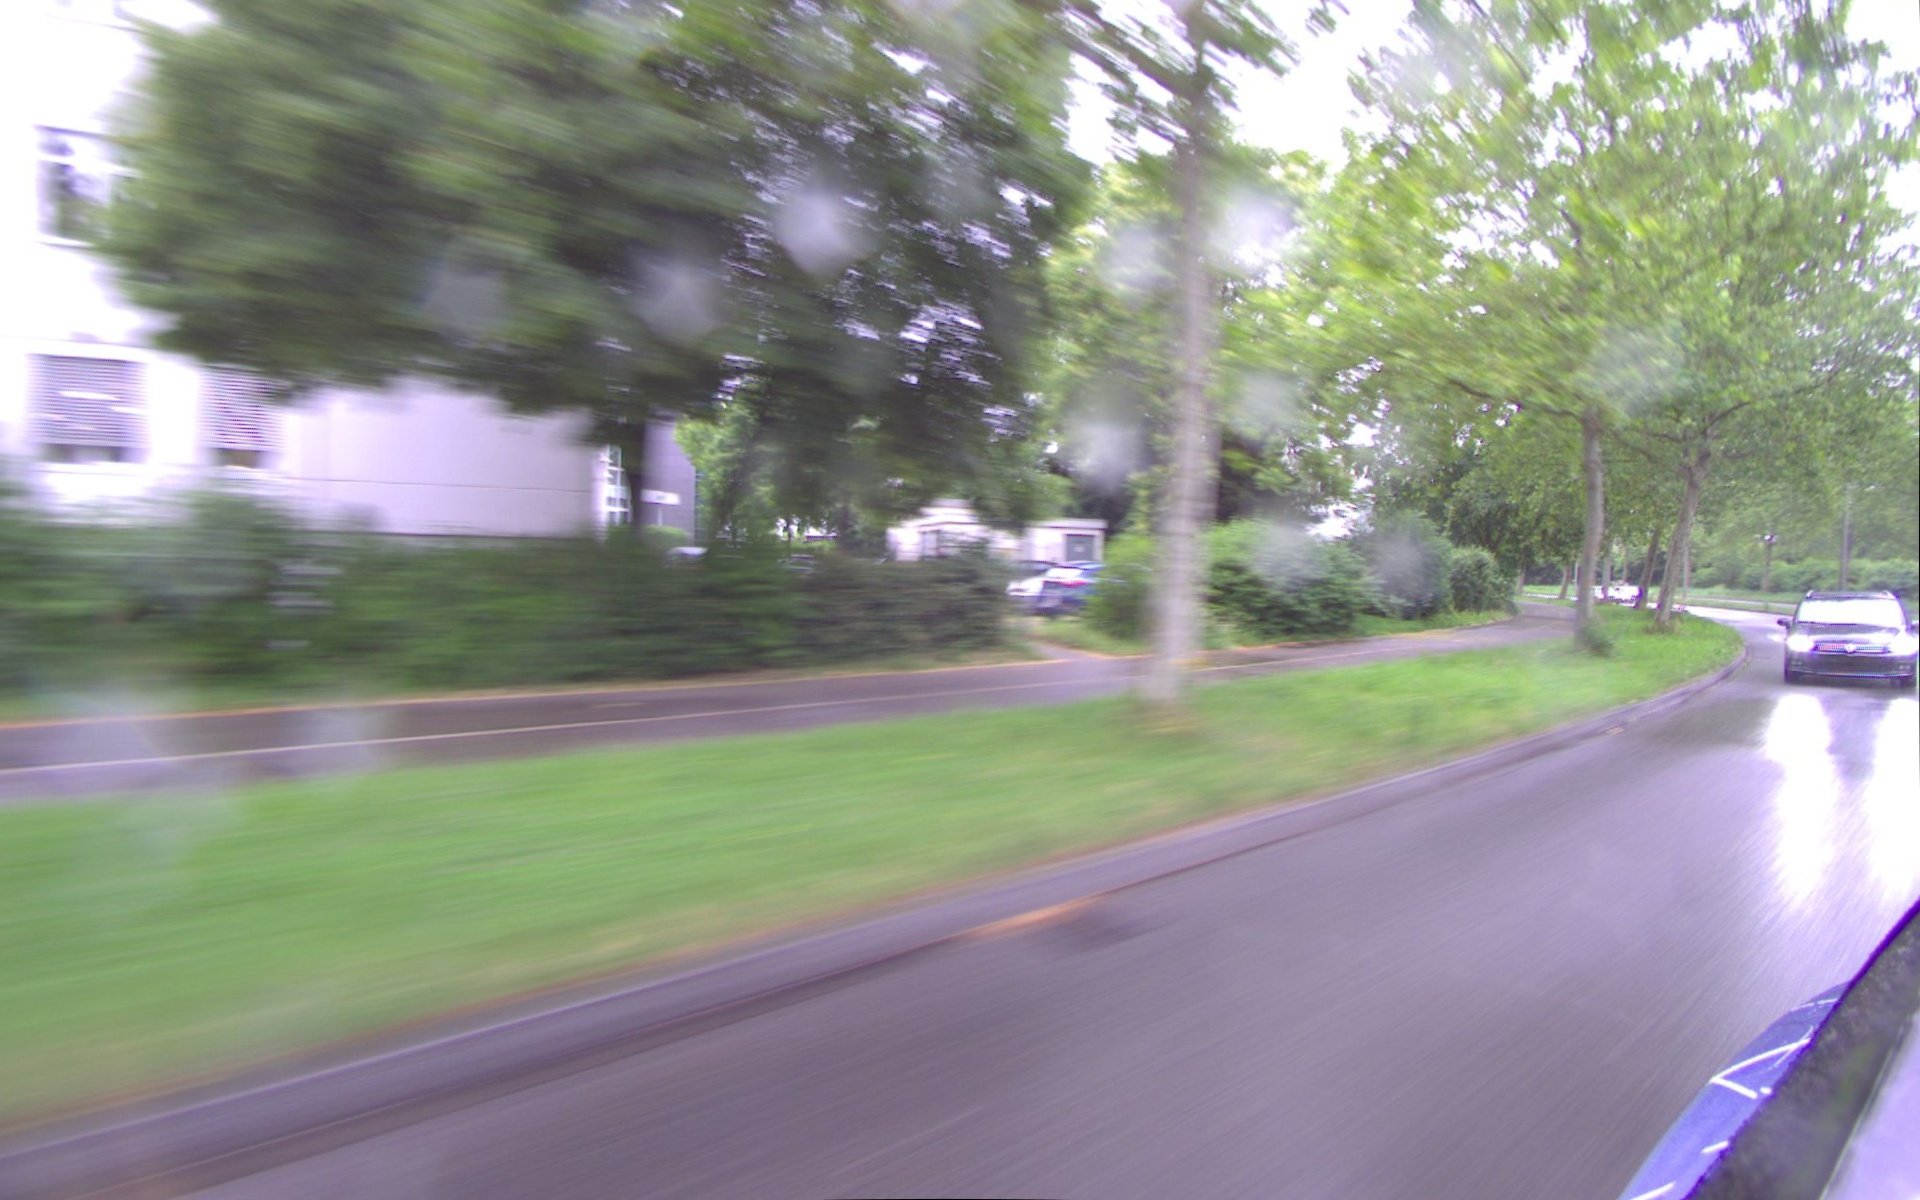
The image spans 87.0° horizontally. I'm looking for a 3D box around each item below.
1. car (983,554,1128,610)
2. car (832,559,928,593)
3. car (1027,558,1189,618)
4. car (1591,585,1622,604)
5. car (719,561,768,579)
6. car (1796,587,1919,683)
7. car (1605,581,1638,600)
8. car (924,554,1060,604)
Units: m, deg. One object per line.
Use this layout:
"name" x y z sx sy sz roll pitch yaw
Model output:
"car" 2.595 -0.482 27.345 3.631 1.438 1.600 0 1 -27
"car" -3.289 -0.967 41.434 3.629 1.375 1.601 0 1 -19
"car" 3.604 -0.285 24.560 3.631 1.375 1.600 0 1 -27
"car" 54.346 -0.478 85.069 1.768 1.575 3.963 1 1 27
"car" -17.054 -2.360 79.764 3.629 1.375 1.601 0 1 -19
"car" 16.461 0.560 18.403 1.778 1.575 3.940 -1 0 42
"car" 57.850 -0.845 88.537 1.766 1.575 3.967 1 1 24
"car" 0.938 -0.599 29.392 3.631 1.375 1.600 0 1 -27
